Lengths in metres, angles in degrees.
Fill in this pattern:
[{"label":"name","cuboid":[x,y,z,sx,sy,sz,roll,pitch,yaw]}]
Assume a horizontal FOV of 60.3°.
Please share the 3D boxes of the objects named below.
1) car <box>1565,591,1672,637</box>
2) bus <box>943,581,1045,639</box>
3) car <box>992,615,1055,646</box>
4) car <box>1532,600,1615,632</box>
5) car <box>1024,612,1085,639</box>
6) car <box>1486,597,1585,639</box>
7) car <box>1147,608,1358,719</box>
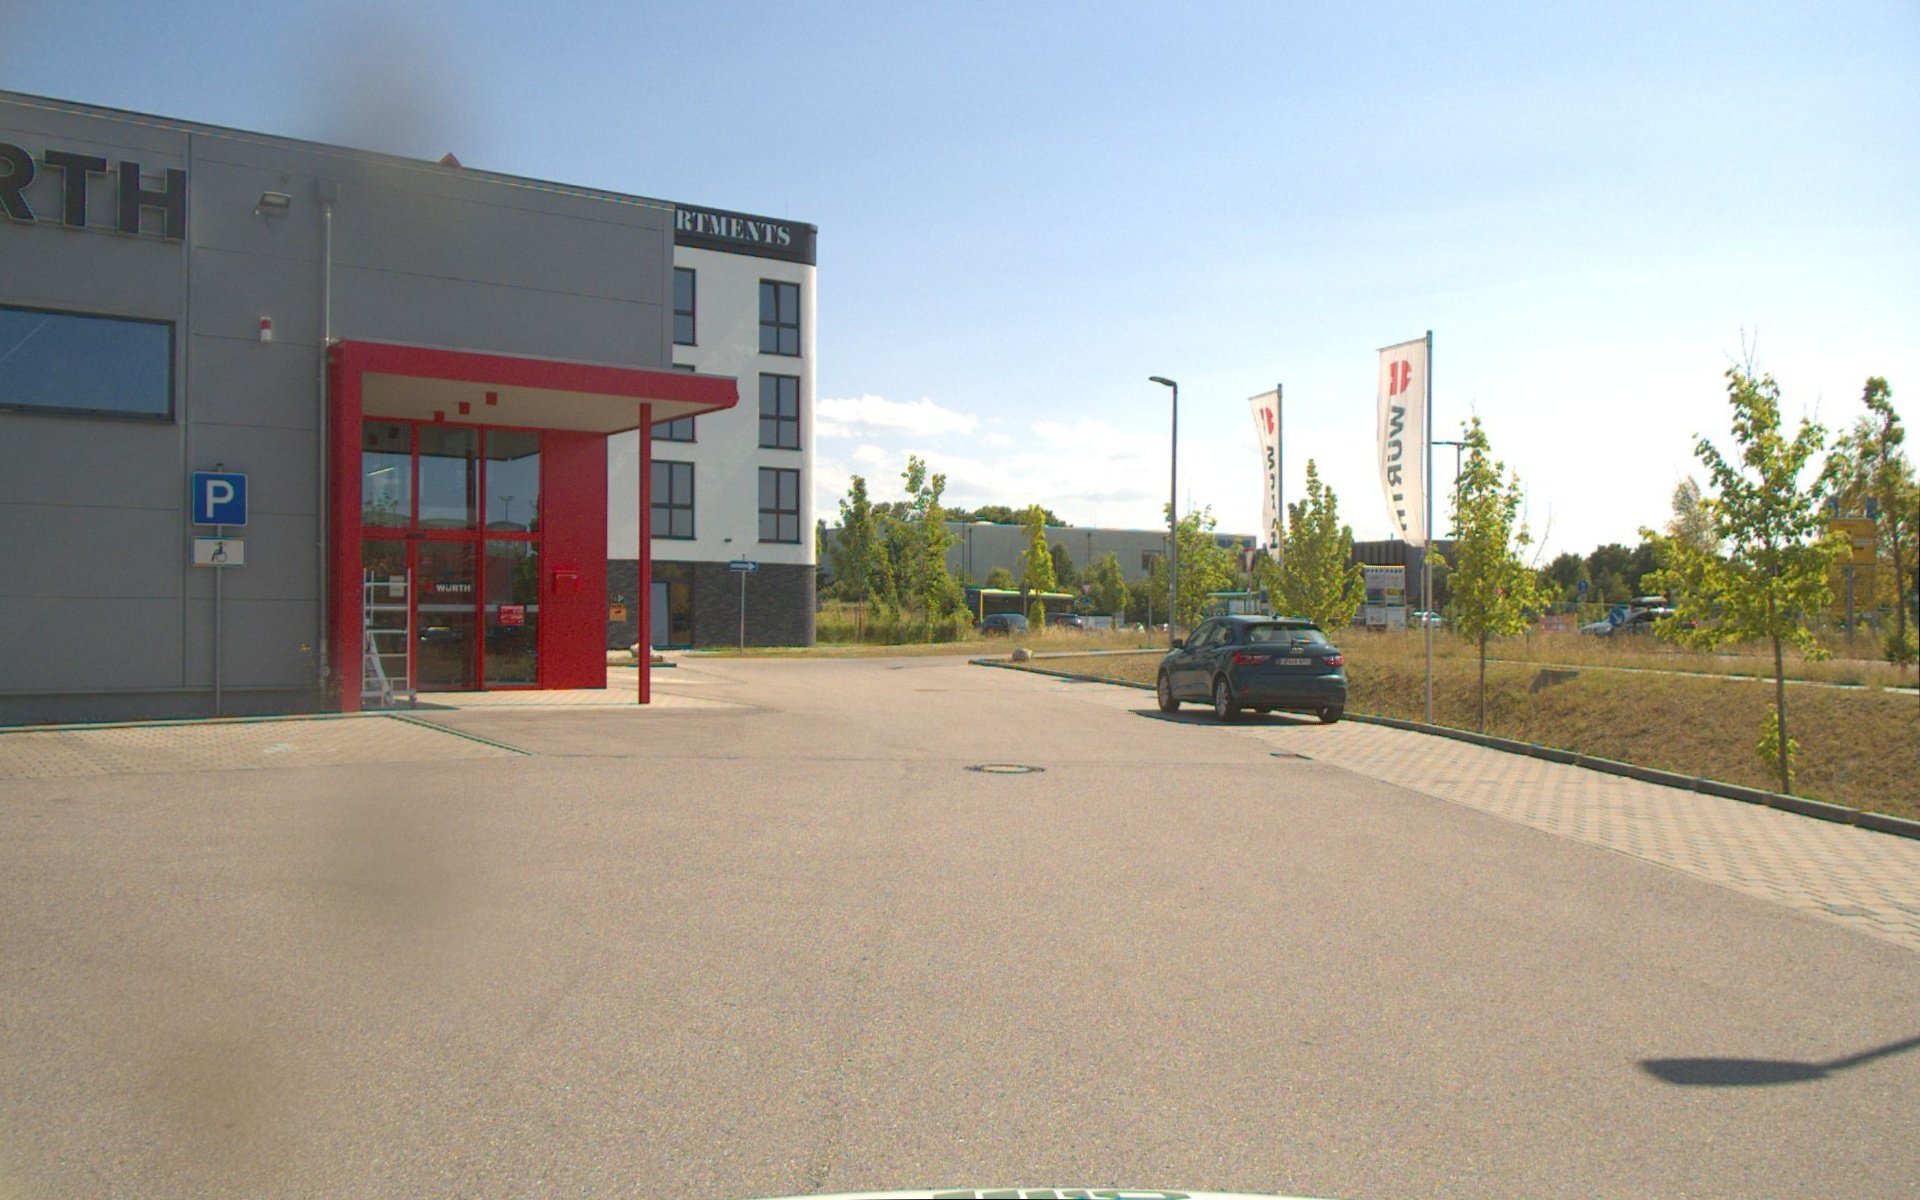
[{"label":"car","cuboid":[24.263,0.499,60.943,3.608,1.625,1.701,0,0,-25]},{"label":"bus","cuboid":[2.389,0.605,109.965,2.516,3.619,11.244,0,0,25]},{"label":"car","cuboid":[3.115,1.496,82.223,1.692,1.468,3.681,0,0,-24]},{"label":"car","cuboid":[27.630,0.707,74.458,3.663,1.420,1.574,0,0,-30]},{"label":"car","cuboid":[5.305,1.430,93.223,1.633,1.410,3.469,0,0,-35]},{"label":"car","cuboid":[23.135,0.705,66.520,3.608,1.625,1.701,0,0,-25]},{"label":"car","cuboid":[4.056,0.850,23.587,1.668,1.431,3.886,1,0,-11]}]
